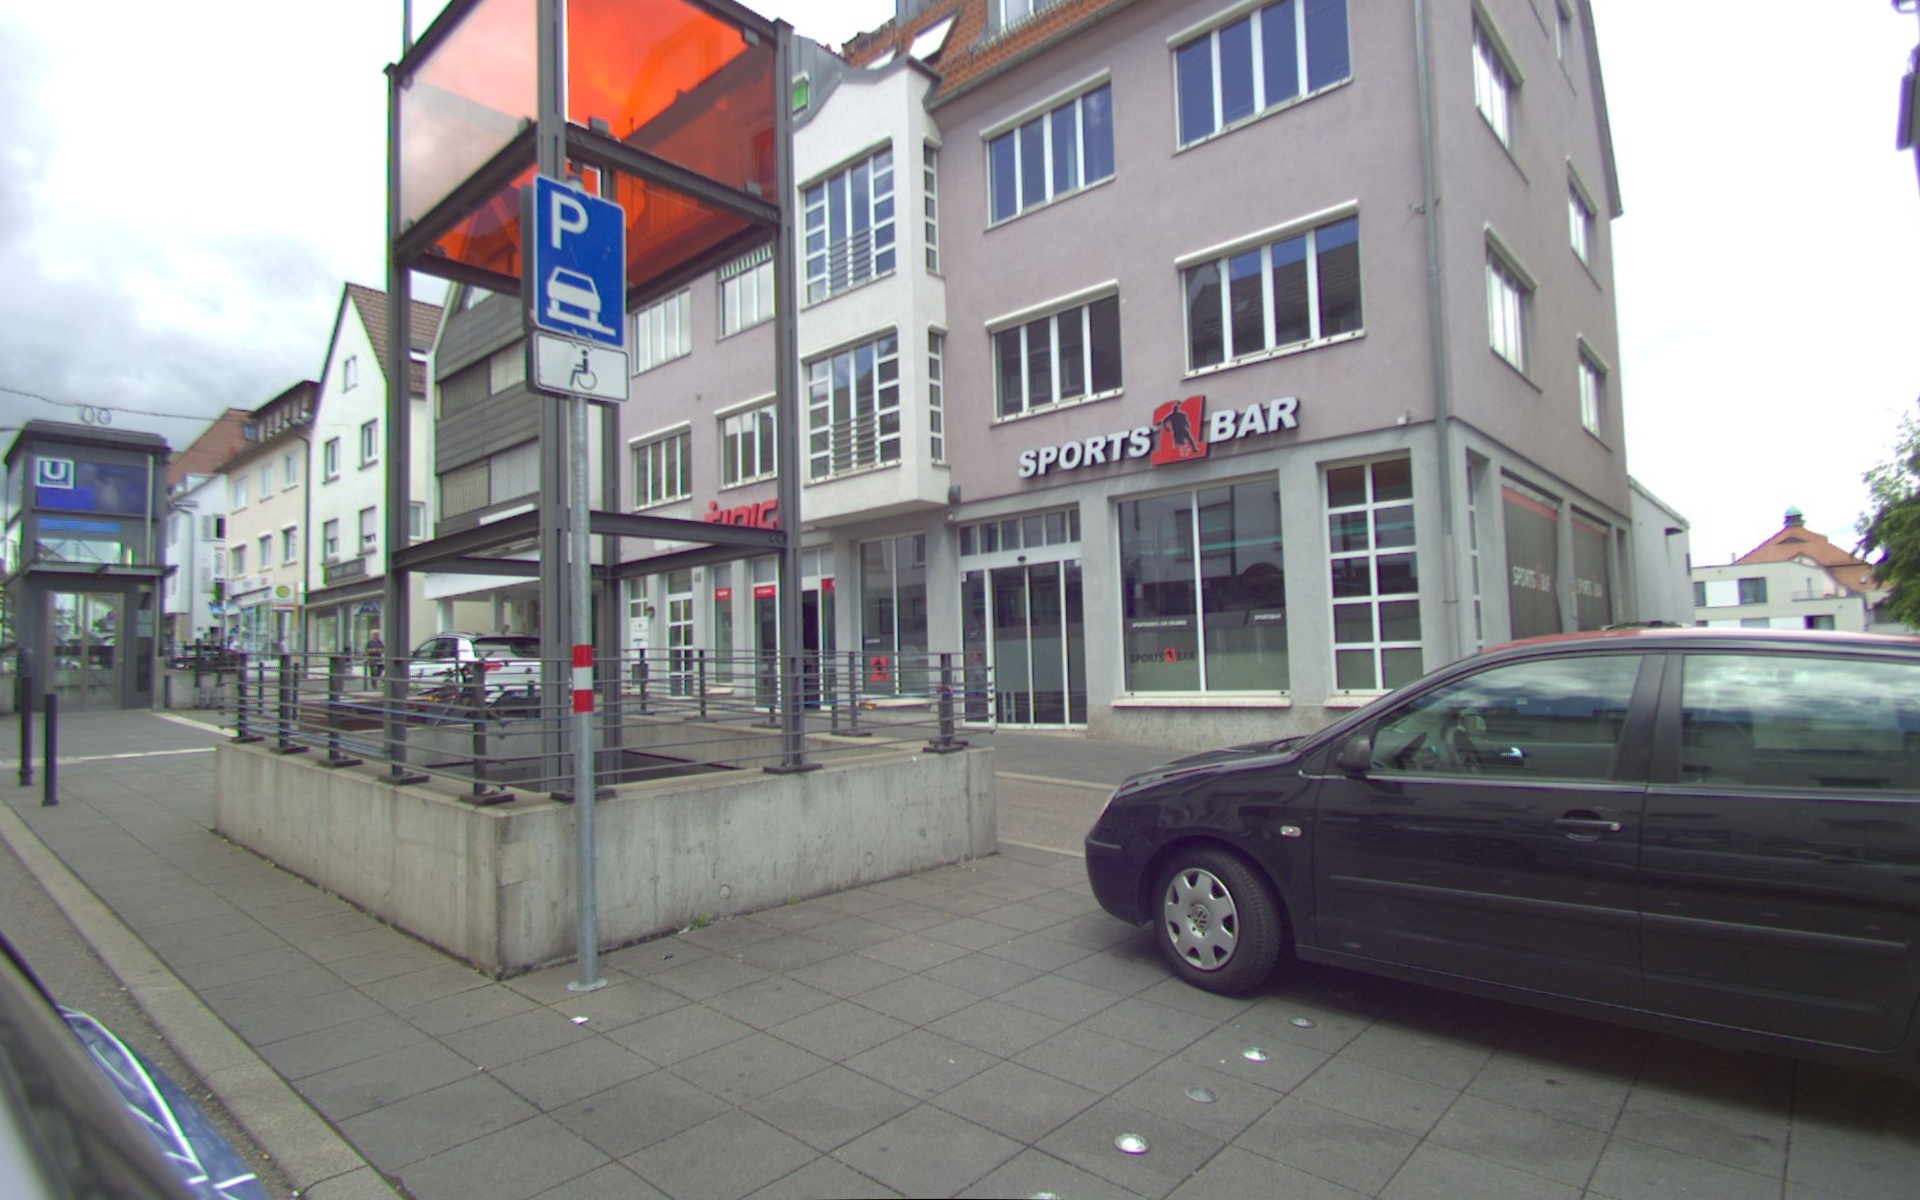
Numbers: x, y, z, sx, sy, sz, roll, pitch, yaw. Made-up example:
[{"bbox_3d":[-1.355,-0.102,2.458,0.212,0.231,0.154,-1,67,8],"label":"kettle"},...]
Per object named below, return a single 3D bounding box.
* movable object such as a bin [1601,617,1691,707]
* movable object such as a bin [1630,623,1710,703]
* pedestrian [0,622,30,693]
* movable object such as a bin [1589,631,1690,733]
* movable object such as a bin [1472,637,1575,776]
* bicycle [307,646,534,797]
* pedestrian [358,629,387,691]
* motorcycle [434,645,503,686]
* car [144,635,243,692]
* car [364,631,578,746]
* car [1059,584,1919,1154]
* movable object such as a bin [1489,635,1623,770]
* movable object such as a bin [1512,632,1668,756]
[{"bbox_3d":[11.088,0.972,16.341,1.043,1.387,1.270,-2,-2,41],"label":"movable object such as a bin"},{"bbox_3d":[12.854,1.116,18.311,1.043,1.387,1.270,-2,-2,41],"label":"movable object such as a bin"},{"bbox_3d":[-25.623,1.536,27.025,0.931,1.856,1.083,-1,-1,42],"label":"pedestrian"},{"bbox_3d":[9.850,1.150,14.662,1.043,1.387,1.270,-2,-2,41],"label":"movable object such as a bin"},{"bbox_3d":[5.945,1.084,10.672,0.807,1.387,0.682,-2,-2,41],"label":"movable object such as a bin"},{"bbox_3d":[-4.856,1.044,9.226,0.459,1.232,1.760,-1,-3,40],"label":"bicycle"},{"bbox_3d":[-16.959,1.719,29.214,0.513,1.729,0.584,-1,-1,41],"label":"pedestrian"},{"bbox_3d":[-15.339,2.022,31.602,0.634,1.149,1.830,-1,-1,40],"label":"motorcycle"},{"bbox_3d":[-23.883,1.921,31.497,4.120,1.583,1.662,-1,-1,41],"label":"car"},{"bbox_3d":[-8.022,1.320,16.454,4.120,1.583,1.662,-1,-1,41],"label":"car"},{"bbox_3d":[2.409,0.753,3.755,3.851,1.486,1.553,-1,-4,39],"label":"car"},{"bbox_3d":[6.702,1.093,11.368,1.067,1.387,1.270,-2,-2,41],"label":"movable object such as a bin"},{"bbox_3d":[7.635,1.080,12.270,1.406,1.387,1.270,-2,-2,41],"label":"movable object such as a bin"}]
